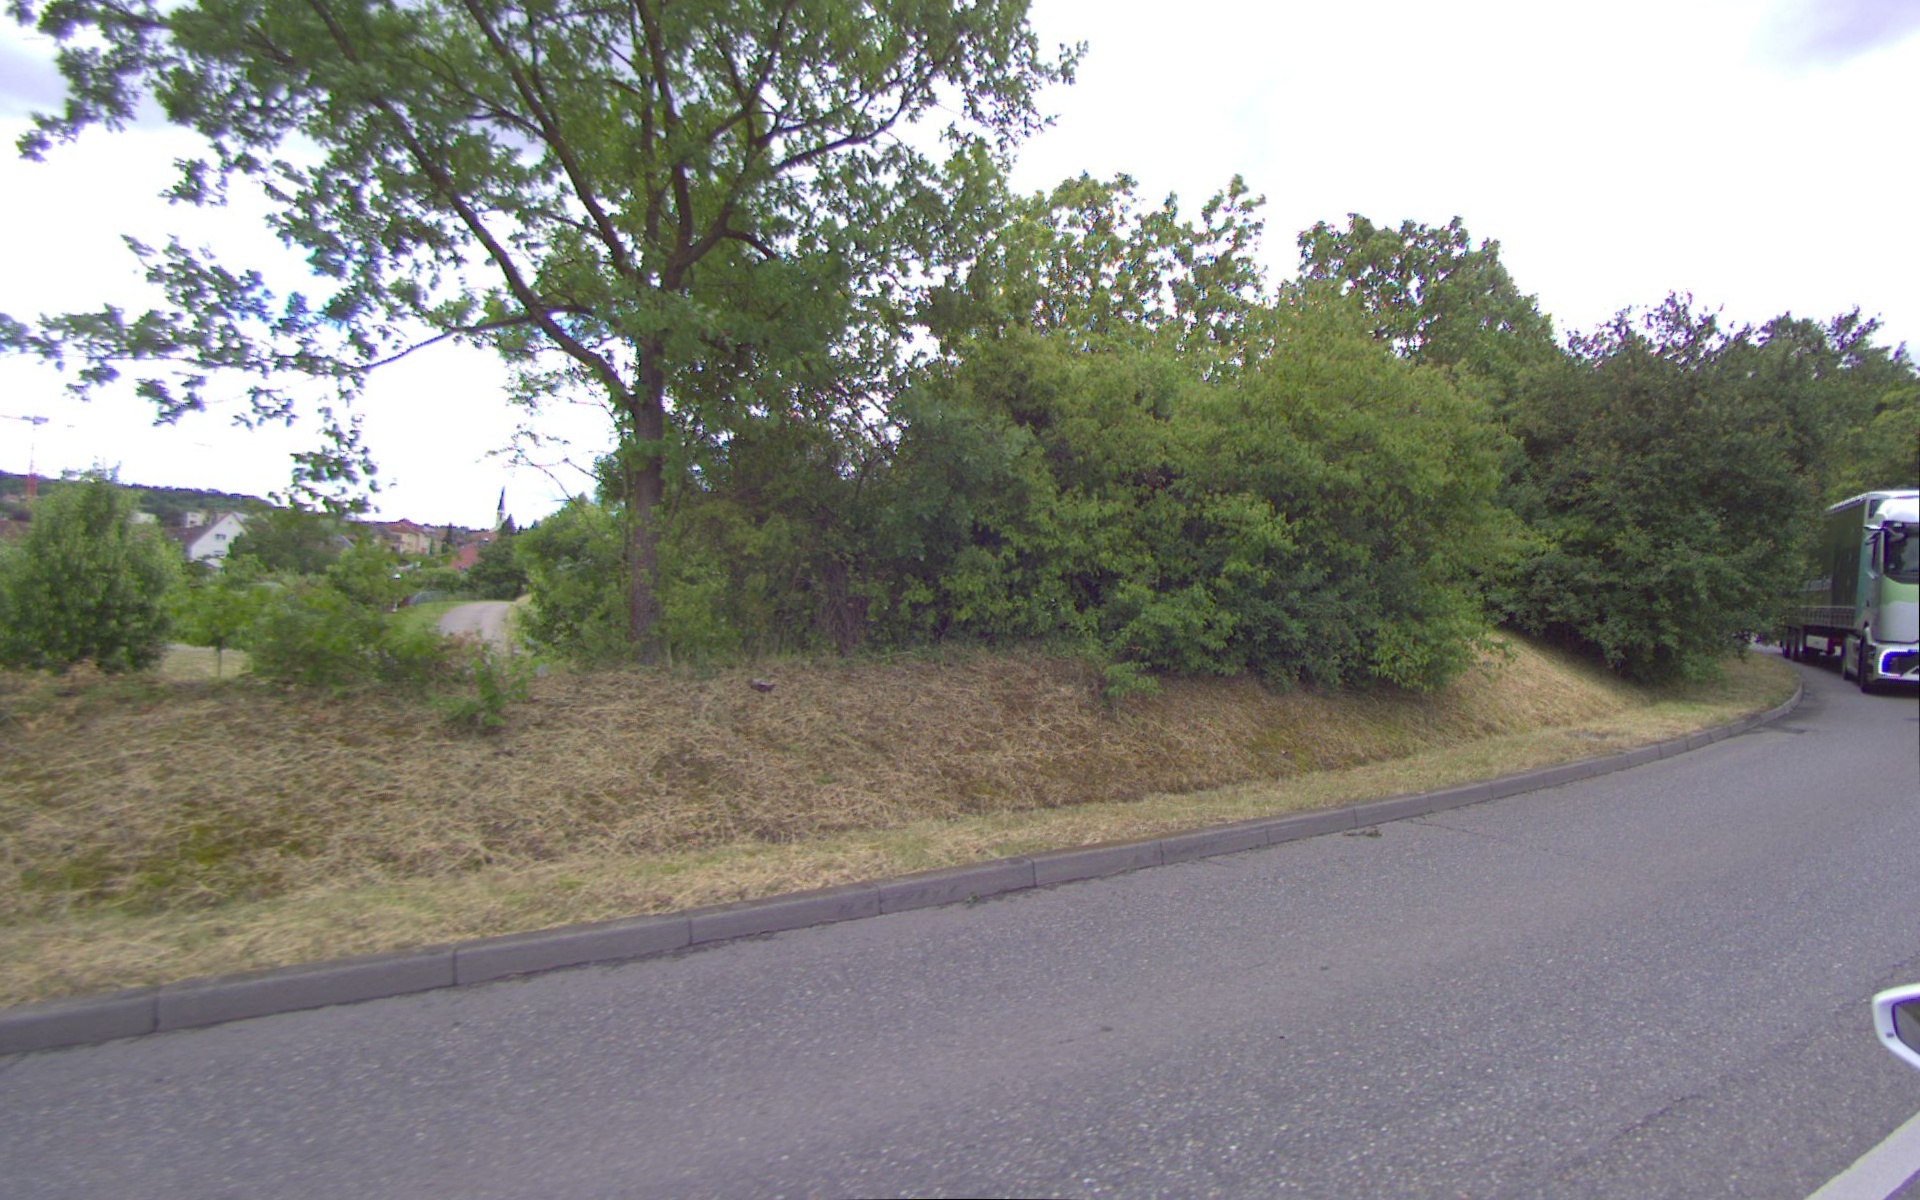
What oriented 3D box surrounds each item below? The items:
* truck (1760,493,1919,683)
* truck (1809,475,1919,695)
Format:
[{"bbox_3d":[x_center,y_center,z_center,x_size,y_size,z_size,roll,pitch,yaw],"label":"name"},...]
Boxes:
[{"bbox_3d":[24.018,-0.247,27.030,2.668,4.003,13.793,1,0,34],"label":"truck"},{"bbox_3d":[19.663,-0.258,20.581,2.667,4.003,6.311,1,1,33],"label":"truck"}]
